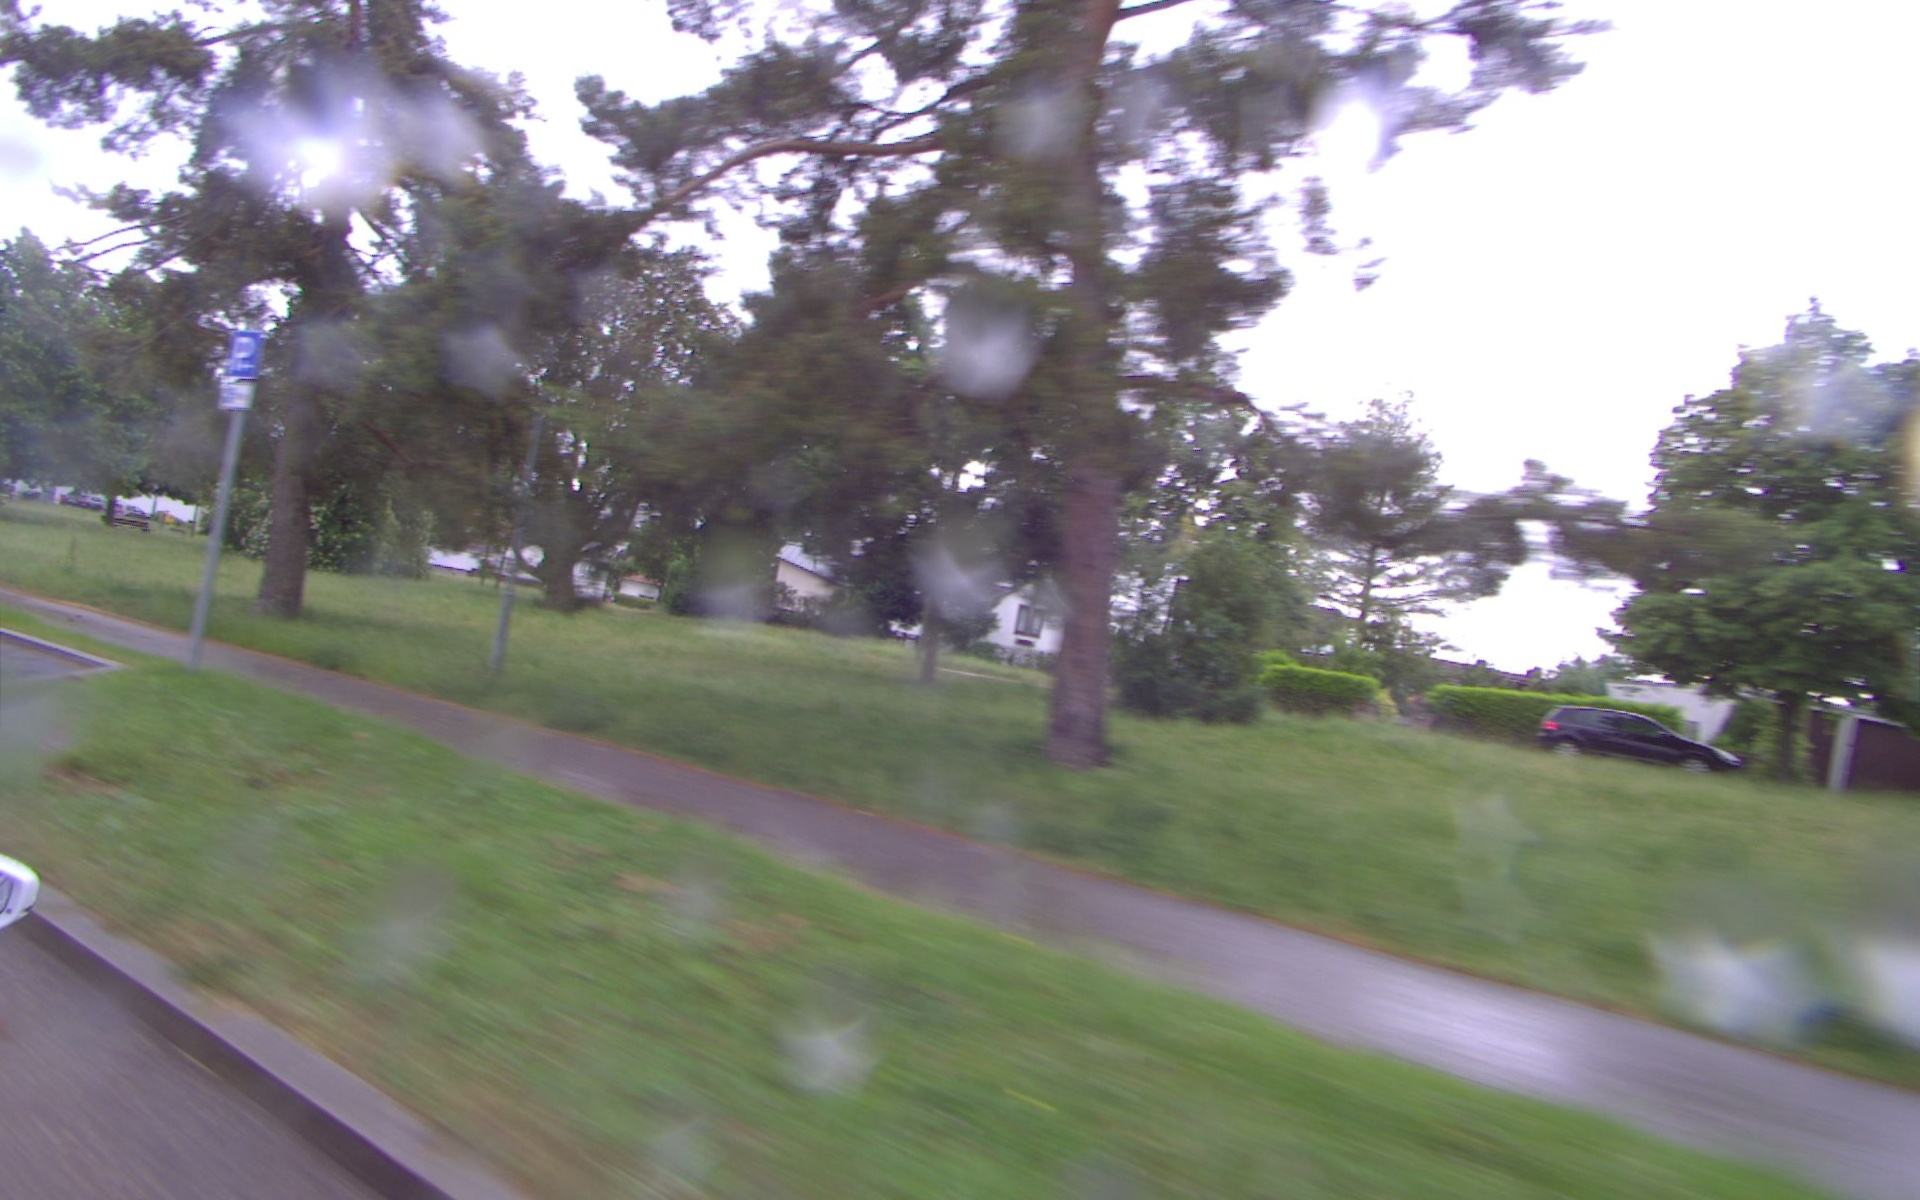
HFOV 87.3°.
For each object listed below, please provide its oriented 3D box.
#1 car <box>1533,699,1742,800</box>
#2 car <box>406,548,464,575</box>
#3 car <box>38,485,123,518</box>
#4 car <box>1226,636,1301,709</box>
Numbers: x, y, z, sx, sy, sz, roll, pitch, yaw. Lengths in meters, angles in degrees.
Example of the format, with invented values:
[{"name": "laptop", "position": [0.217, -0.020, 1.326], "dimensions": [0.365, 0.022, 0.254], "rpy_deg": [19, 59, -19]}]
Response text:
[{"name": "car", "position": [16.392, 3.570, 24.515], "dimensions": [3.937, 1.671, 1.828], "rpy_deg": [7, -2, 36]}, {"name": "car", "position": [-37.941, -2.781, 72.706], "dimensions": [3.936, 1.483, 1.973], "rpy_deg": [6, 1, 34]}, {"name": "car", "position": [-68.405, -7.655, 78.335], "dimensions": [4.485, 1.771, 1.908], "rpy_deg": [7, 0, -13]}, {"name": "car", "position": [13.283, 3.136, 44.291], "dimensions": [2.565, 2.527, 6.691], "rpy_deg": [11, 0, 16]}]
